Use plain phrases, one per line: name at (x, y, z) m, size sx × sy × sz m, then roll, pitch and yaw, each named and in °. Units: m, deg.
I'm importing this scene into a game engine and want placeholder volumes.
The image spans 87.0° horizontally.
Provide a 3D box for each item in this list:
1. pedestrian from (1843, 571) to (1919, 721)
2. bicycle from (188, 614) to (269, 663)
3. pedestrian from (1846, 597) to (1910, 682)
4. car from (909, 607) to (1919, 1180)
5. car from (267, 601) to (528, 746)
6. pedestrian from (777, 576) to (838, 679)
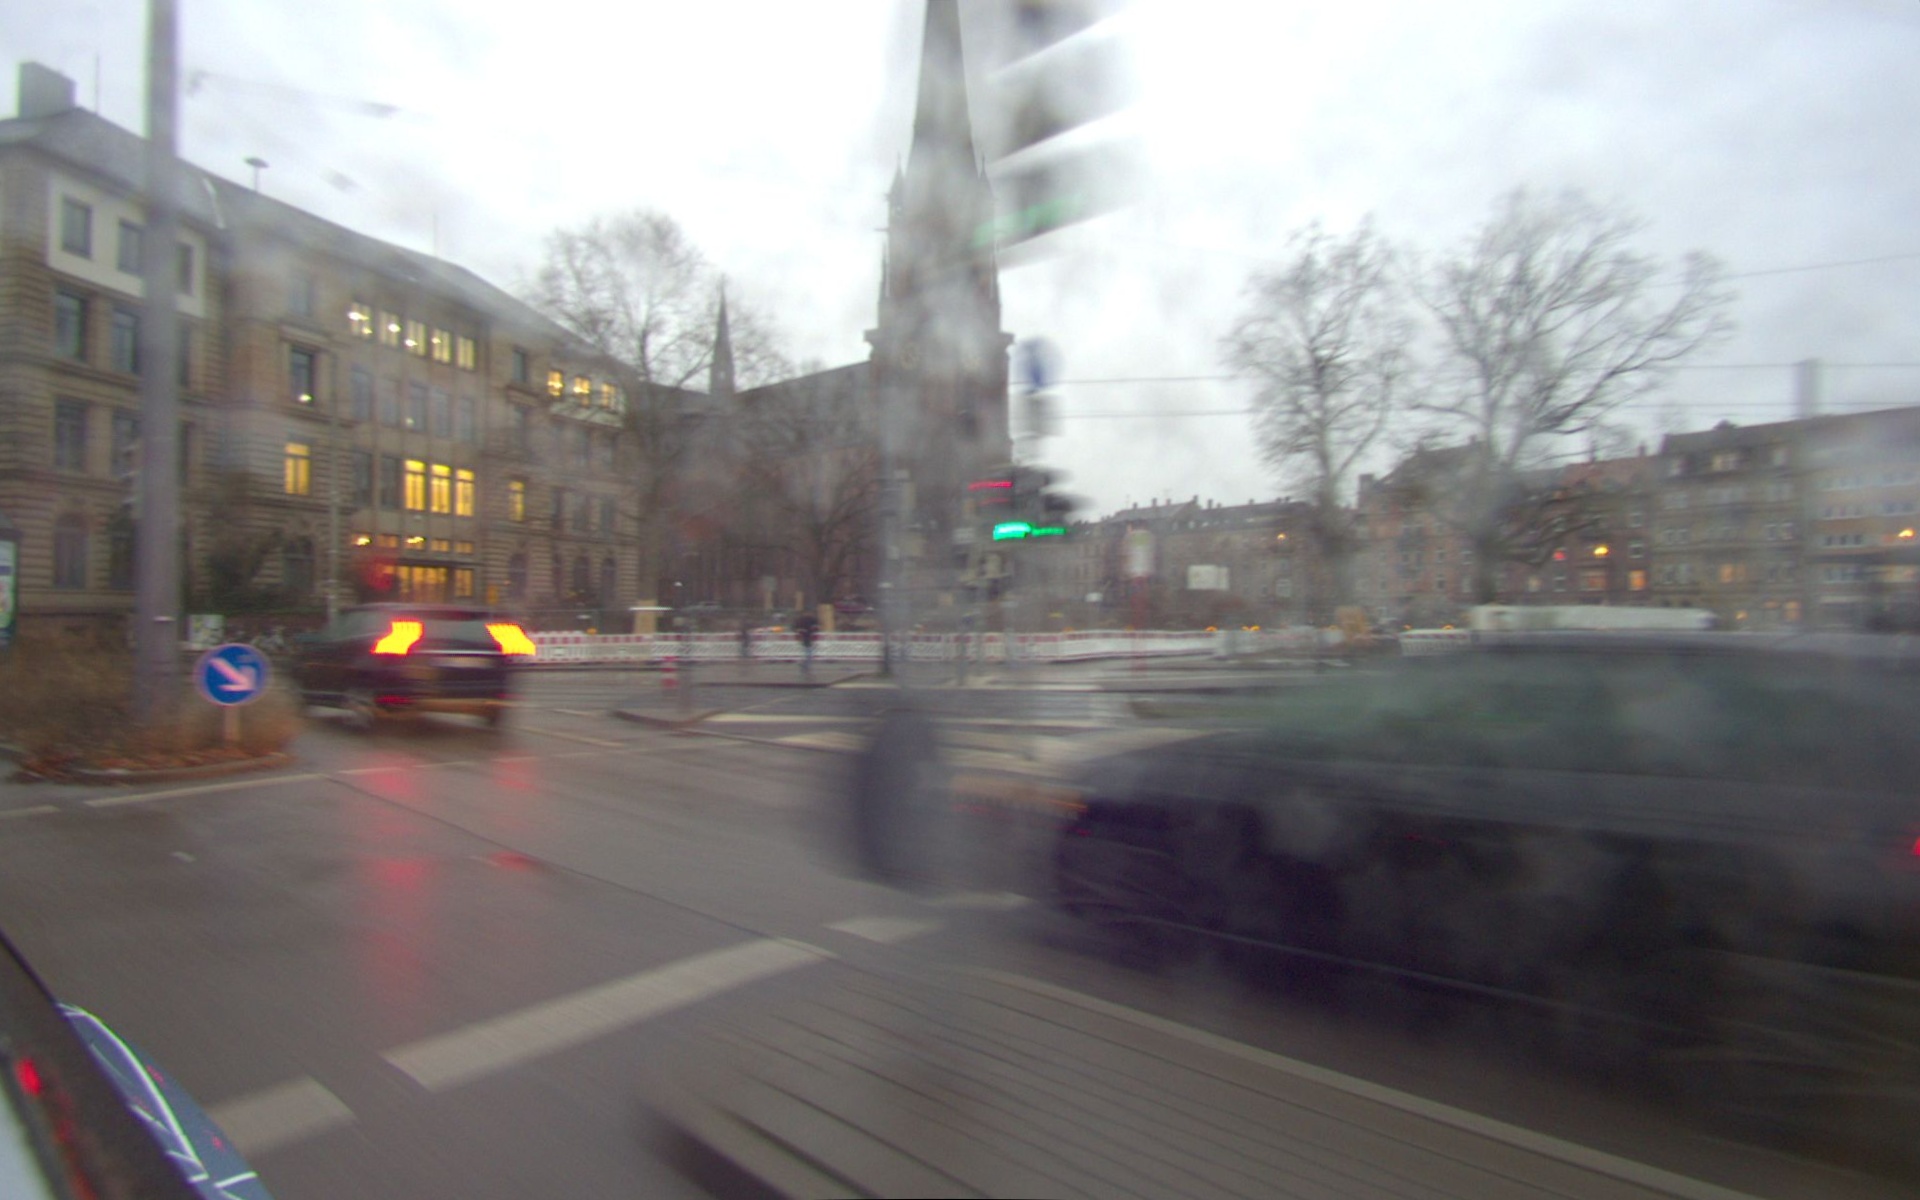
pedestrian at (11.692, 0.558, 12.611) m, size 0.817 × 1.827 × 0.602 m, roll 0°, pitch 1°, yaw 12°
bicycle at (-27.367, 1.421, 37.889) m, size 2.388 × 1.701 × 0.715 m, roll -1°, pitch 1°, yaw -31°
pedestrian at (19.449, 0.819, 21.458) m, size 0.709 × 1.770 × 0.712 m, roll 0°, pitch 0°, yaw 9°
car at (1.940, 0.774, 4.019) m, size 4.366 × 1.388 × 1.728 m, roll -2°, pitch -3°, yaw 43°
car at (-7.791, 0.919, 13.818) m, size 4.529 × 1.674 × 1.735 m, roll -2°, pitch -3°, yaw 42°
pedestrian at (-3.635, 0.622, 24.166) m, size 1.063 × 2.388 × 0.984 m, roll 1°, pitch 1°, yaw 38°
